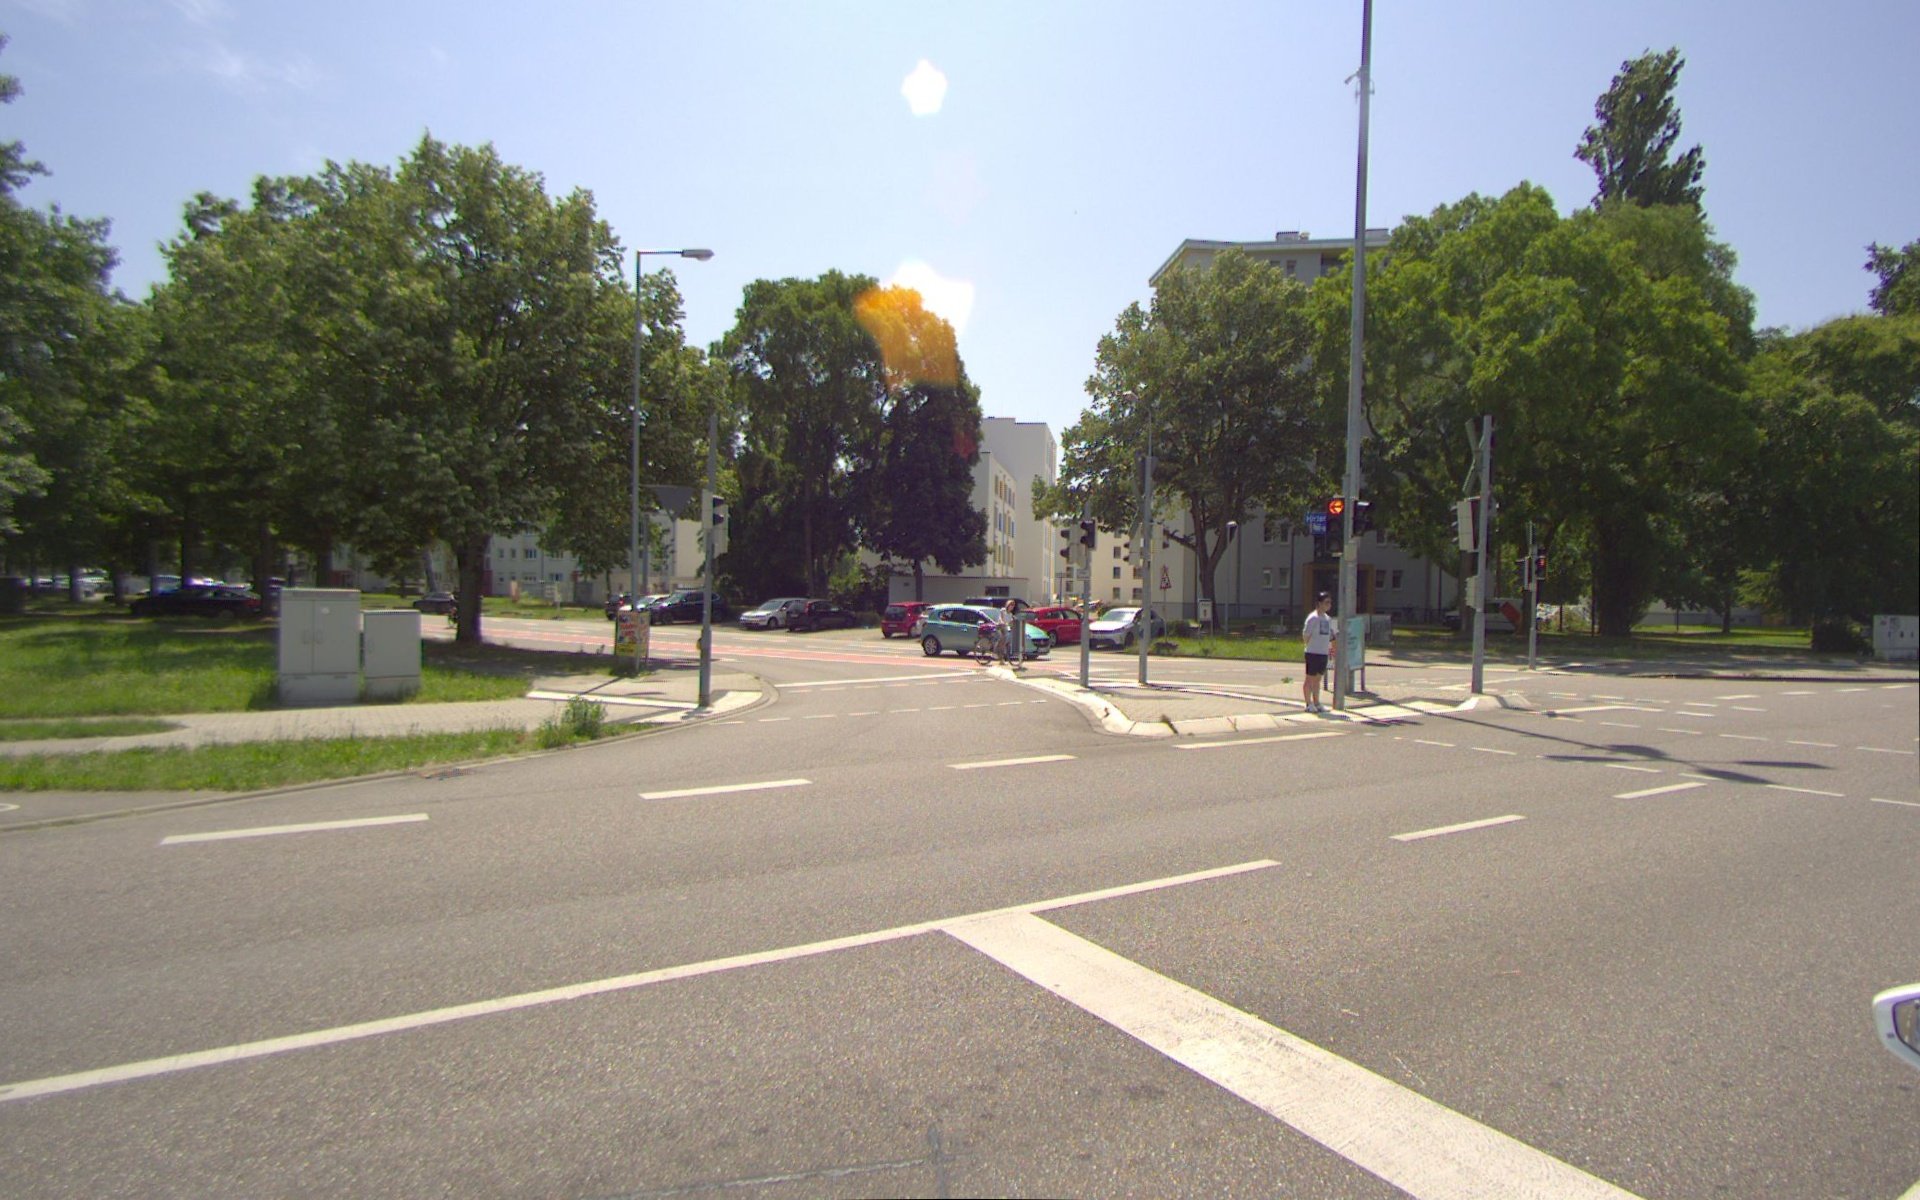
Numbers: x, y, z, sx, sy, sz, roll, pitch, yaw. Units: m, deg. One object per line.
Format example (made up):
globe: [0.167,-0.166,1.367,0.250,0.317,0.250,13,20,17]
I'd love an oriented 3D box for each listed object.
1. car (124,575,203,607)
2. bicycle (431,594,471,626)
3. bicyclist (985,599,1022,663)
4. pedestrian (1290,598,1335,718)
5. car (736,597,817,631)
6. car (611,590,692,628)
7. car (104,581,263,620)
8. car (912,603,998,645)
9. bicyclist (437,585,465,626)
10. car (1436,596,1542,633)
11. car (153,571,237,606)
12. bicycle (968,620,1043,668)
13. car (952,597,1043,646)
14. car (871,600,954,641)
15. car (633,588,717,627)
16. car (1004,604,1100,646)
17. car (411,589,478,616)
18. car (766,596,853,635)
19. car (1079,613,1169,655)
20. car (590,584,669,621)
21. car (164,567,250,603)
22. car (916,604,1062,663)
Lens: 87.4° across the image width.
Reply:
car: [-55.307,-0.596,69.781,1.969,2.041,3.981,6,3,39]
bicycle: [-21.898,0.440,43.204,2.028,1.317,0.770,1,1,38]
bicyclist: [1.094,0.774,25.350,0.655,1.557,0.629,1,1,38]
pedestrian: [5.167,0.838,14.725,0.481,1.710,0.380,0,1,-34]
car: [-9.029,0.697,49.686,1.667,1.583,3.823,1,0,38]
car: [-17.077,0.507,55.710,1.823,1.974,3.984,3,1,37]
car: [-30.398,0.009,39.479,4.504,1.487,1.995,0,0,-13]
car: [-0.159,0.987,42.611,1.680,1.613,3.989,3,1,33]
bicyclist: [-21.887,0.241,43.191,0.884,1.715,0.770,1,1,37]
car: [27.007,0.728,51.428,4.456,1.791,1.793,1,0,10]
car: [-49.470,-0.733,65.037,1.969,2.041,3.981,6,3,39]
bicycle: [1.130,1.087,25.307,1.840,1.108,0.643,1,1,38]
car: [1.581,0.833,41.070,1.683,1.825,3.984,3,1,37]
car: [-2.059,0.891,44.563,1.819,1.690,3.993,1,0,29]
car: [-15.111,0.383,53.413,1.823,1.974,3.984,3,1,37]
car: [3.648,0.951,39.317,1.600,1.483,3.976,3,2,43]
car: [-31.378,0.124,61.100,4.556,1.519,1.905,1,0,37]
car: [-7.165,0.731,48.137,1.823,1.734,3.984,1,0,37]
car: [6.208,1.231,37.679,1.604,1.399,3.983,3,1,38]
car: [-19.193,0.139,58.464,1.823,1.974,3.984,3,1,37]
car: [-47.478,-0.927,63.403,1.969,2.041,3.981,6,3,39]
car: [0.808,0.914,28.659,3.834,1.488,1.769,1,0,36]
